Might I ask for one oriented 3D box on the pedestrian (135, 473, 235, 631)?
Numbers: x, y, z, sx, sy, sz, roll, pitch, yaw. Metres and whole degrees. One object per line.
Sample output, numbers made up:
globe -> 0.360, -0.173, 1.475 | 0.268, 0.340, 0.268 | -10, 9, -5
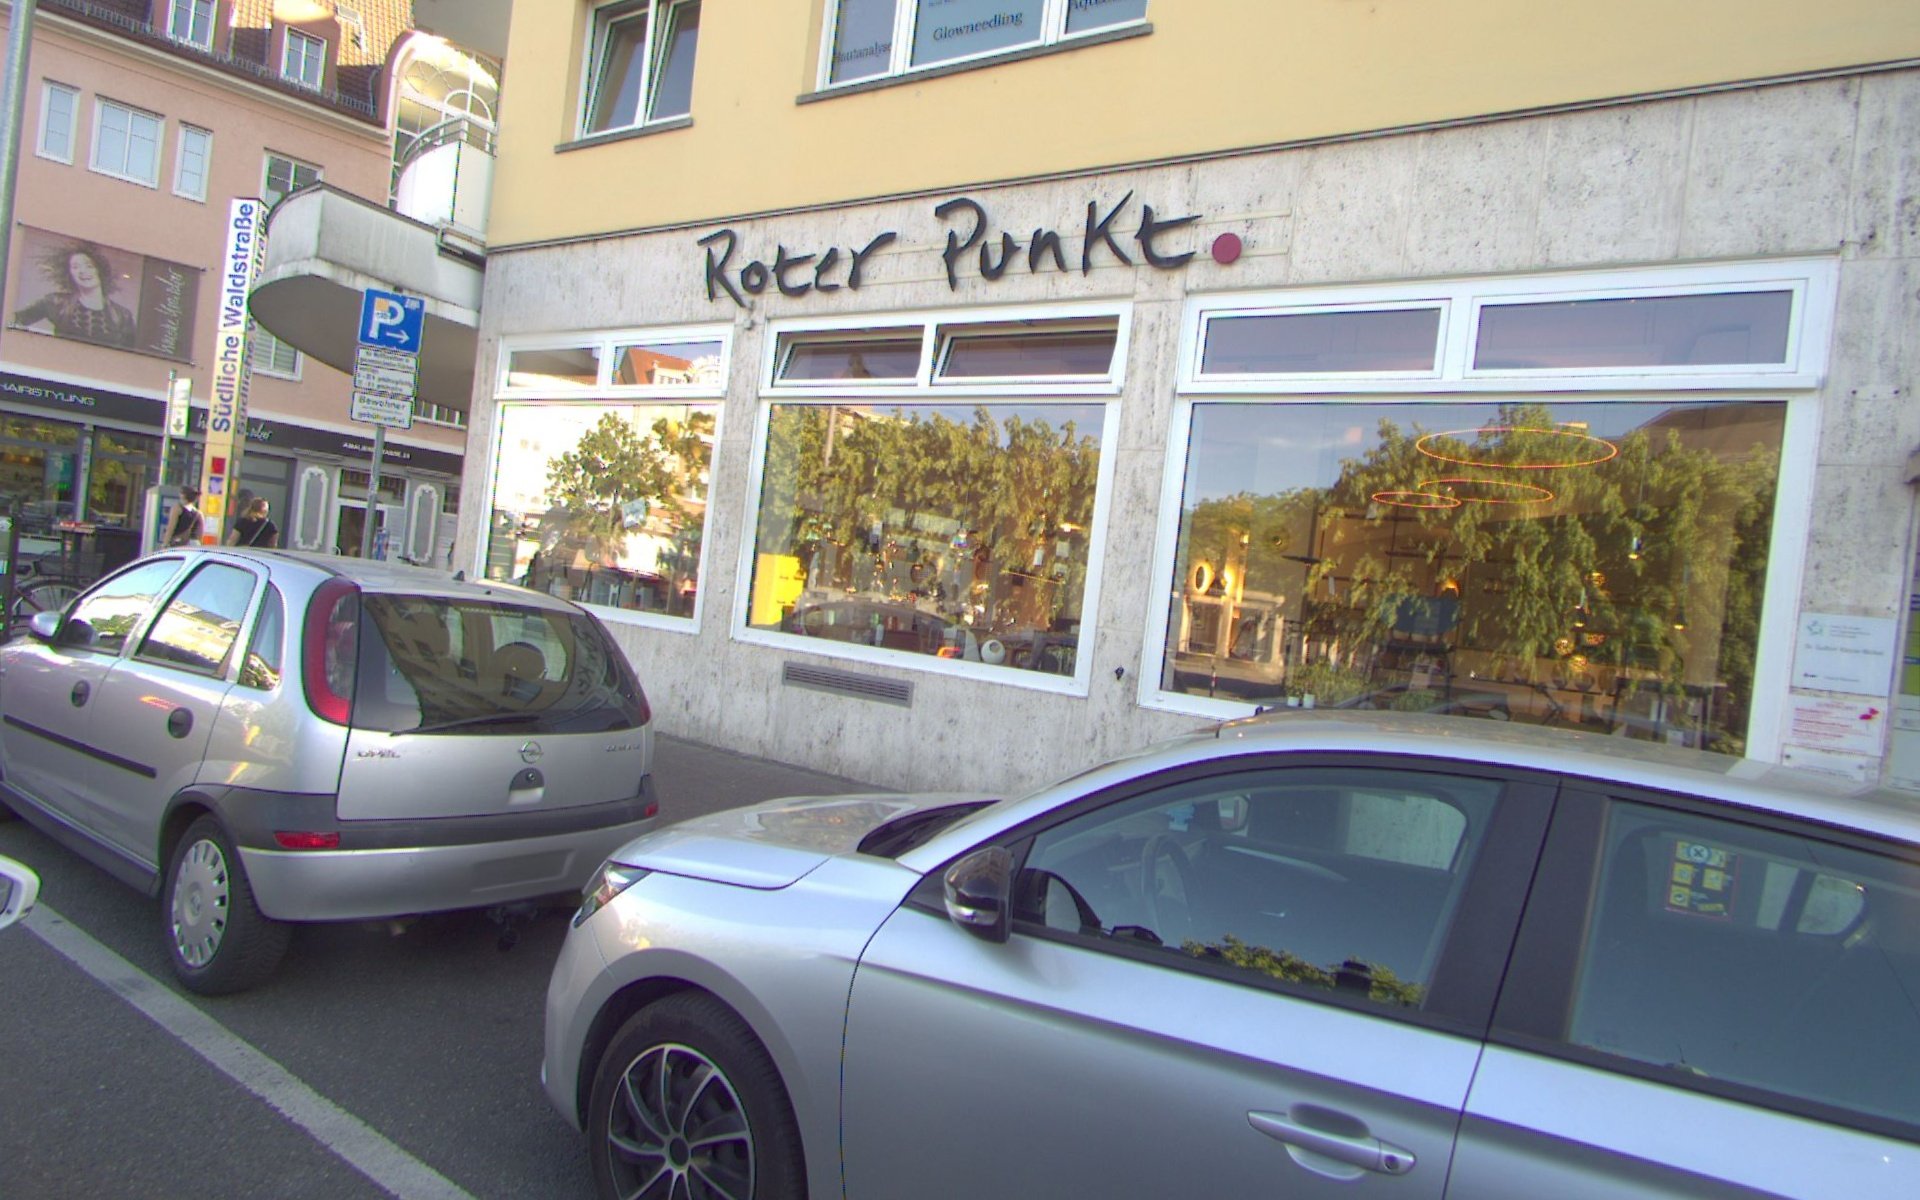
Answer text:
pedestrian -> -9.663, -0.593, 12.545 | 0.879, 1.875, 0.680 | 6, 3, 33

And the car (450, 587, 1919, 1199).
car -> 0.779, 0.940, 2.277 | 3.624, 1.453, 1.587 | 6, -2, 30

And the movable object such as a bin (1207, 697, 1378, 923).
movable object such as a bin -> 1.824, 1.093, 5.473 | 0.639, 1.035, 0.738 | 6, -1, 31

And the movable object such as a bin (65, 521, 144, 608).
movable object such as a bin -> -11.961, -0.493, 14.065 | 0.716, 1.117, 0.636 | 7, 2, 35

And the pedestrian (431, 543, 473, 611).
pedestrian -> -12.568, -0.571, 24.896 | 0.716, 1.567, 0.786 | 8, -1, -30

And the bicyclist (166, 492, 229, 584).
bicyclist -> -14.470, -1.178, 19.095 | 0.823, 1.635, 0.572 | 4, 2, -42

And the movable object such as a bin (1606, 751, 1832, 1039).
movable object such as a bin -> 3.373, 1.262, 4.542 | 0.639, 1.035, 0.738 | 6, -1, 31

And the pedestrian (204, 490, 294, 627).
pedestrian -> -9.735, -0.562, 13.777 | 0.776, 1.777, 0.720 | 6, 2, 37

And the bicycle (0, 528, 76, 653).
bicycle -> -9.056, -0.155, 8.794 | 0.642, 1.072, 1.816 | 7, -1, 33

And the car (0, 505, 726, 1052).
car -> -2.957, 0.480, 4.457 | 3.520, 1.443, 1.587 | 6, -2, 32

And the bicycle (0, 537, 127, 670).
bicycle -> -8.165, -0.001, 8.250 | 0.642, 1.057, 1.884 | 7, 0, 33

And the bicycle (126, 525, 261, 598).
bicycle -> -14.527, -0.723, 19.112 | 1.945, 1.173, 0.569 | 5, 1, -42
